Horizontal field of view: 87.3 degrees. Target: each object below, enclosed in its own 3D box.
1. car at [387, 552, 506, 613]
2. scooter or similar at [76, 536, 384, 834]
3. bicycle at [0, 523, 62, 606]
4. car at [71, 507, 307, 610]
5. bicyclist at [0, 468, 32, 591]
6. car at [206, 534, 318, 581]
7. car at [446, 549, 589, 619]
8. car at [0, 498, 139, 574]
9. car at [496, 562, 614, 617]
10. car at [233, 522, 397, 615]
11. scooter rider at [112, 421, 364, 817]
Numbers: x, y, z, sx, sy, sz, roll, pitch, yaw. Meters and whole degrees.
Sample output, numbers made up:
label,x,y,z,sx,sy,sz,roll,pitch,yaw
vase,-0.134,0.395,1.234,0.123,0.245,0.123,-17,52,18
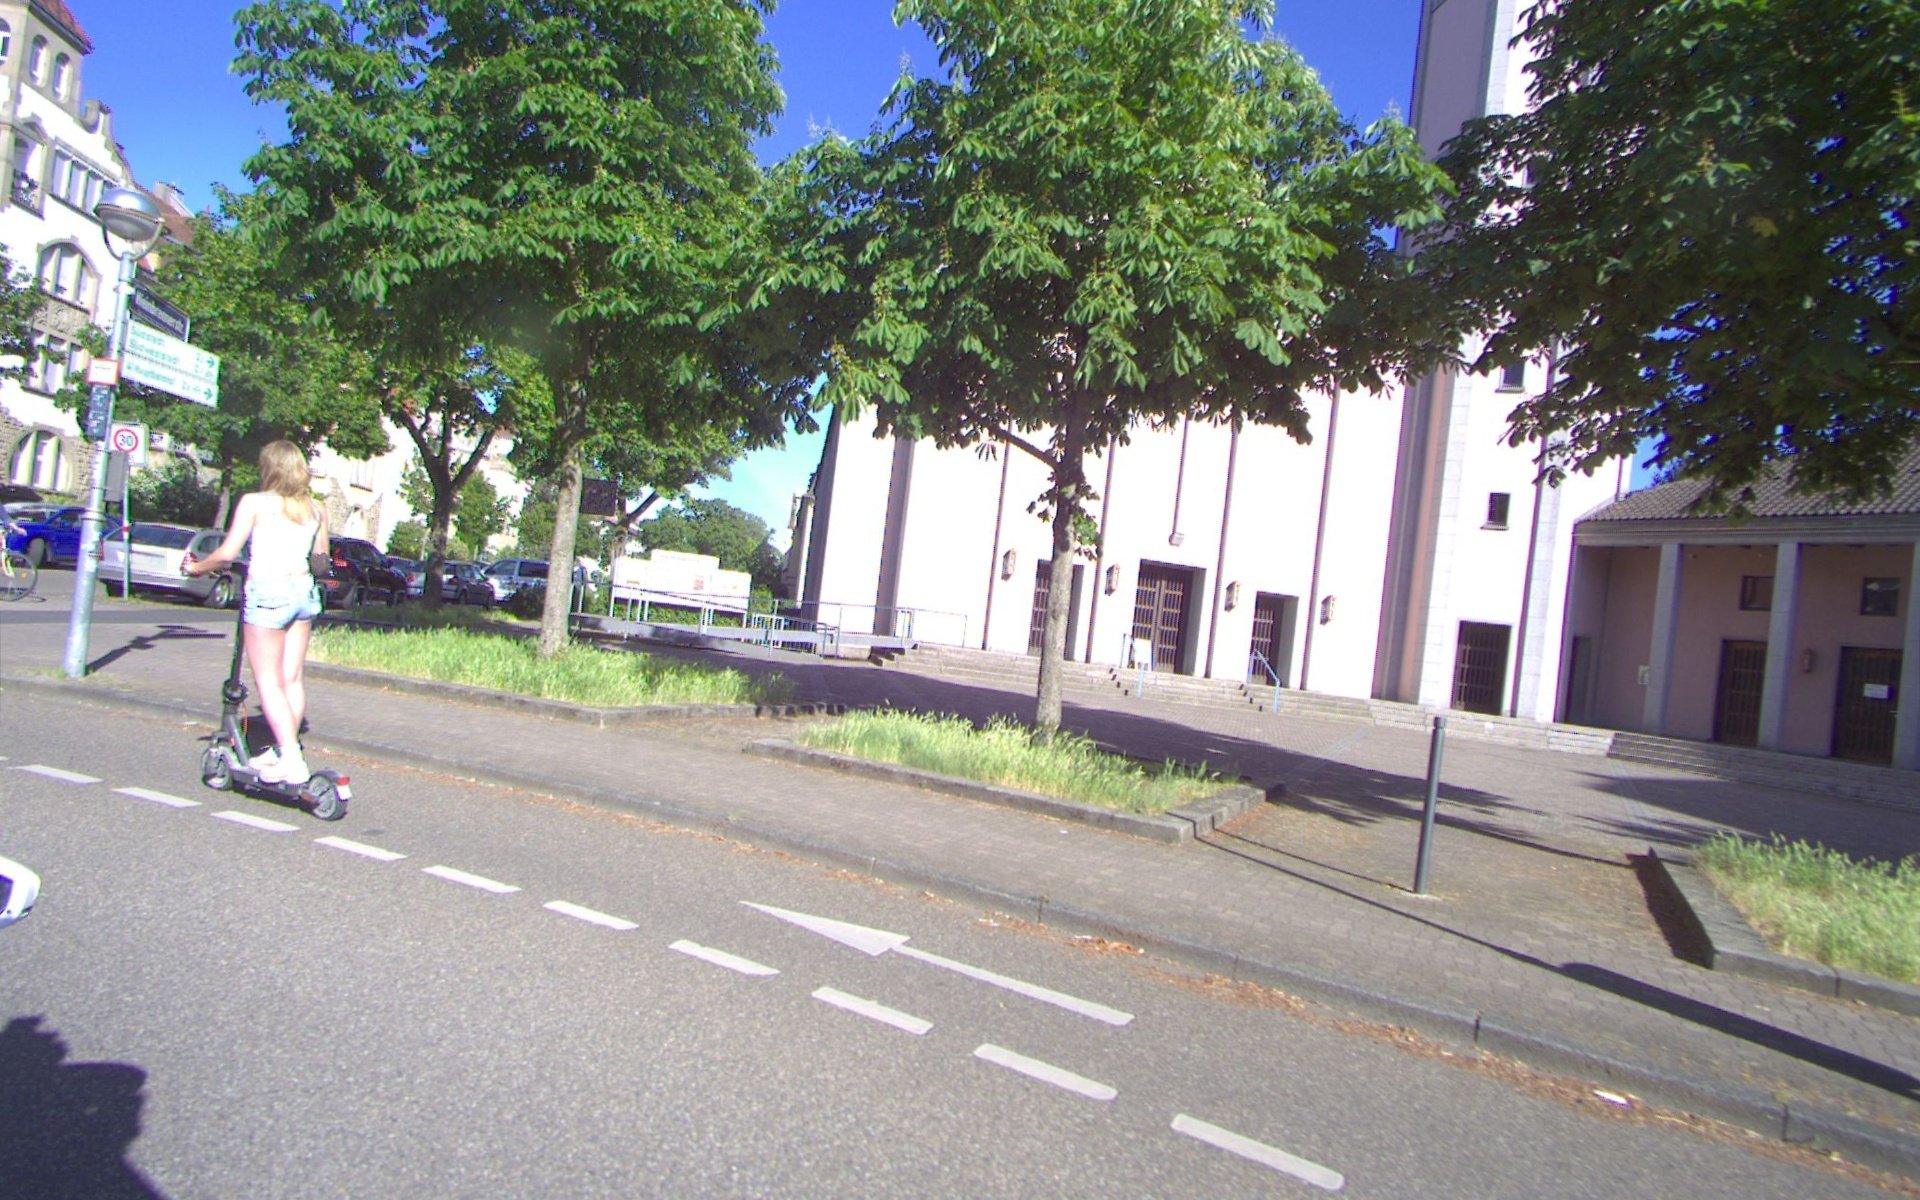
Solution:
label,x,y,z,sx,sy,sz,roll,pitch,yaw
car,-15.991,-0.478,31.598,1.778,1.490,4.336,8,-2,-7
scooter or similar,-3.723,0.407,5.164,1.085,1.298,0.633,7,-1,17
bicycle,-14.054,-0.572,14.376,1.686,1.121,0.646,6,-1,-4
car,-14.100,-0.673,18.748,1.782,1.432,4.328,8,-2,-14
bicyclist,-14.007,-1.040,14.381,0.710,1.735,0.646,6,-1,-4
car,-26.560,-1.576,38.477,1.779,1.414,4.392,5,-1,-10
car,-17.302,-0.606,39.583,4.706,2.024,1.805,8,-1,-15
car,-22.786,-1.569,24.918,1.779,1.581,4.392,5,-1,-10
car,-18.952,-0.480,47.318,4.702,1.862,1.807,8,-1,-11
car,-15.023,-0.670,23.717,1.782,1.748,4.328,8,-2,-14
scooter rider,-3.682,0.094,5.168,0.620,1.853,0.626,7,0,17
